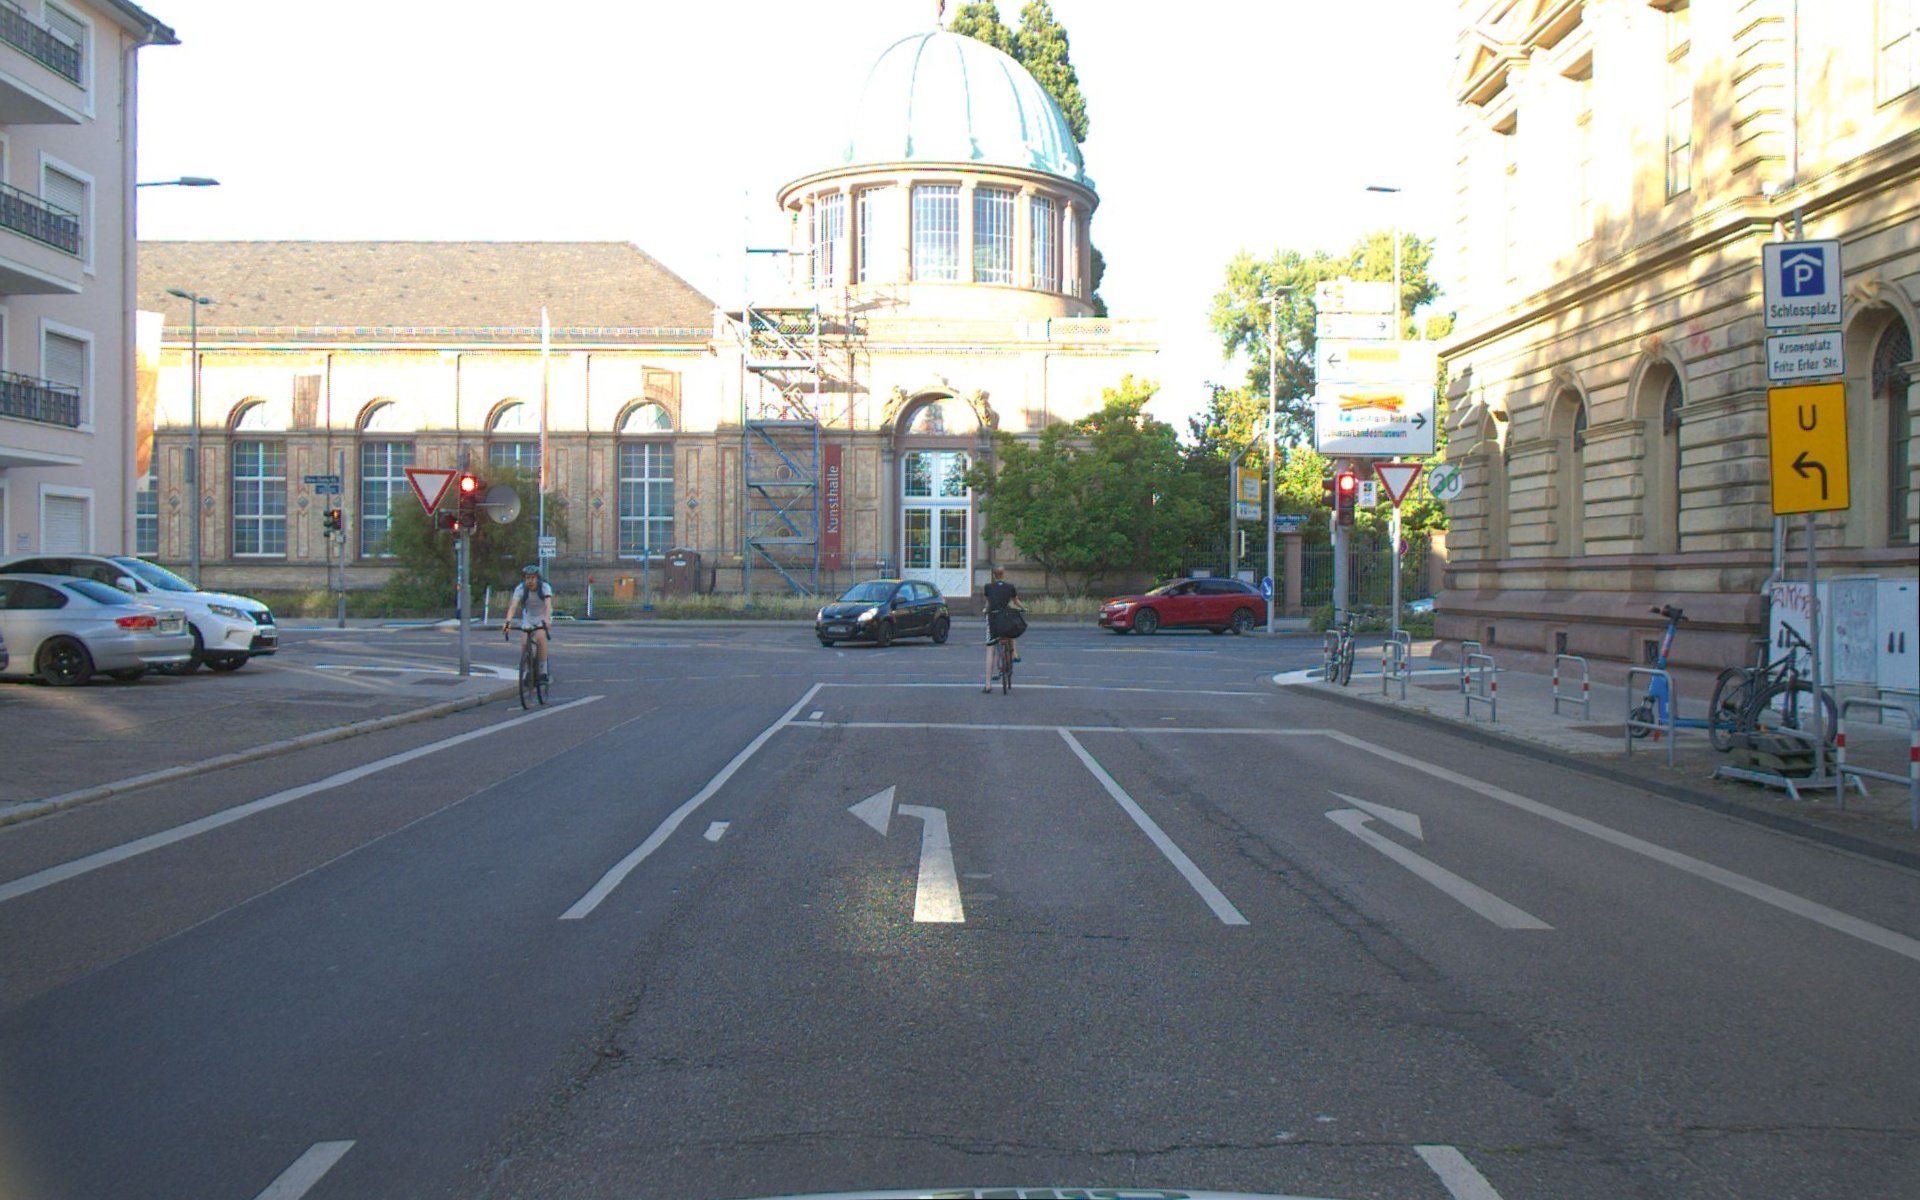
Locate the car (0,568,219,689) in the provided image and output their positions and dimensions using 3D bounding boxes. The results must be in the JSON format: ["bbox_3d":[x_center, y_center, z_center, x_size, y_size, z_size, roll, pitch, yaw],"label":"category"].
[{"bbox_3d":[-12.103,0.312,21.400,4.181,1.404,1.735,2,1,-3],"label":"car"}]

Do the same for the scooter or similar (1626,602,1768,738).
[{"bbox_3d":[6.831,0.642,15.377,1.106,1.216,0.584,-2,0,17],"label":"scooter or similar"}]

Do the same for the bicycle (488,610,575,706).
[{"bbox_3d":[-5.503,0.731,21.357,0.612,1.176,2.052,0,-1,-1],"label":"bicycle"}]

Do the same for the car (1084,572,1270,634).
[{"bbox_3d":[5.953,0.054,45.445,4.757,1.572,1.827,-1,1,-18],"label":"car"}]

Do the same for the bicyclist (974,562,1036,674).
[{"bbox_3d":[0.635,0.251,22.983,0.701,1.529,0.851,0,-1,13],"label":"bicyclist"}]

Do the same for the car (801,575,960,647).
[{"bbox_3d":[-1.760,0.207,37.811,1.629,1.497,3.840,0,2,35],"label":"car"}]

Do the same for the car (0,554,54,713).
[{"bbox_3d":[-12.038,0.265,16.991,4.330,1.633,1.915,2,1,-3],"label":"car"}]

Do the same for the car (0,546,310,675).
[{"bbox_3d":[-12.064,0.122,24.131,4.352,1.669,1.941,2,1,-3],"label":"car"}]

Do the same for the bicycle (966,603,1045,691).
[{"bbox_3d":[0.657,0.643,23.094,0.696,1.176,2.070,0,-1,13],"label":"bicycle"}]

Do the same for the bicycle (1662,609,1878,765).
[{"bbox_3d":[6.764,0.686,13.944,0.810,1.154,1.944,-2,1,-1],"label":"bicycle"}]

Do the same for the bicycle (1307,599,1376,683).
[{"bbox_3d":[5.701,0.601,24.802,0.570,1.209,1.920,0,-1,-1],"label":"bicycle"}]

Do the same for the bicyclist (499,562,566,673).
[{"bbox_3d":[-5.496,0.228,21.289,0.612,1.388,0.929,0,-1,-1],"label":"bicyclist"}]

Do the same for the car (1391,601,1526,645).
[{"bbox_3d":[17.004,0.779,56.525,4.104,1.470,1.713,0,1,-6],"label":"car"}]
